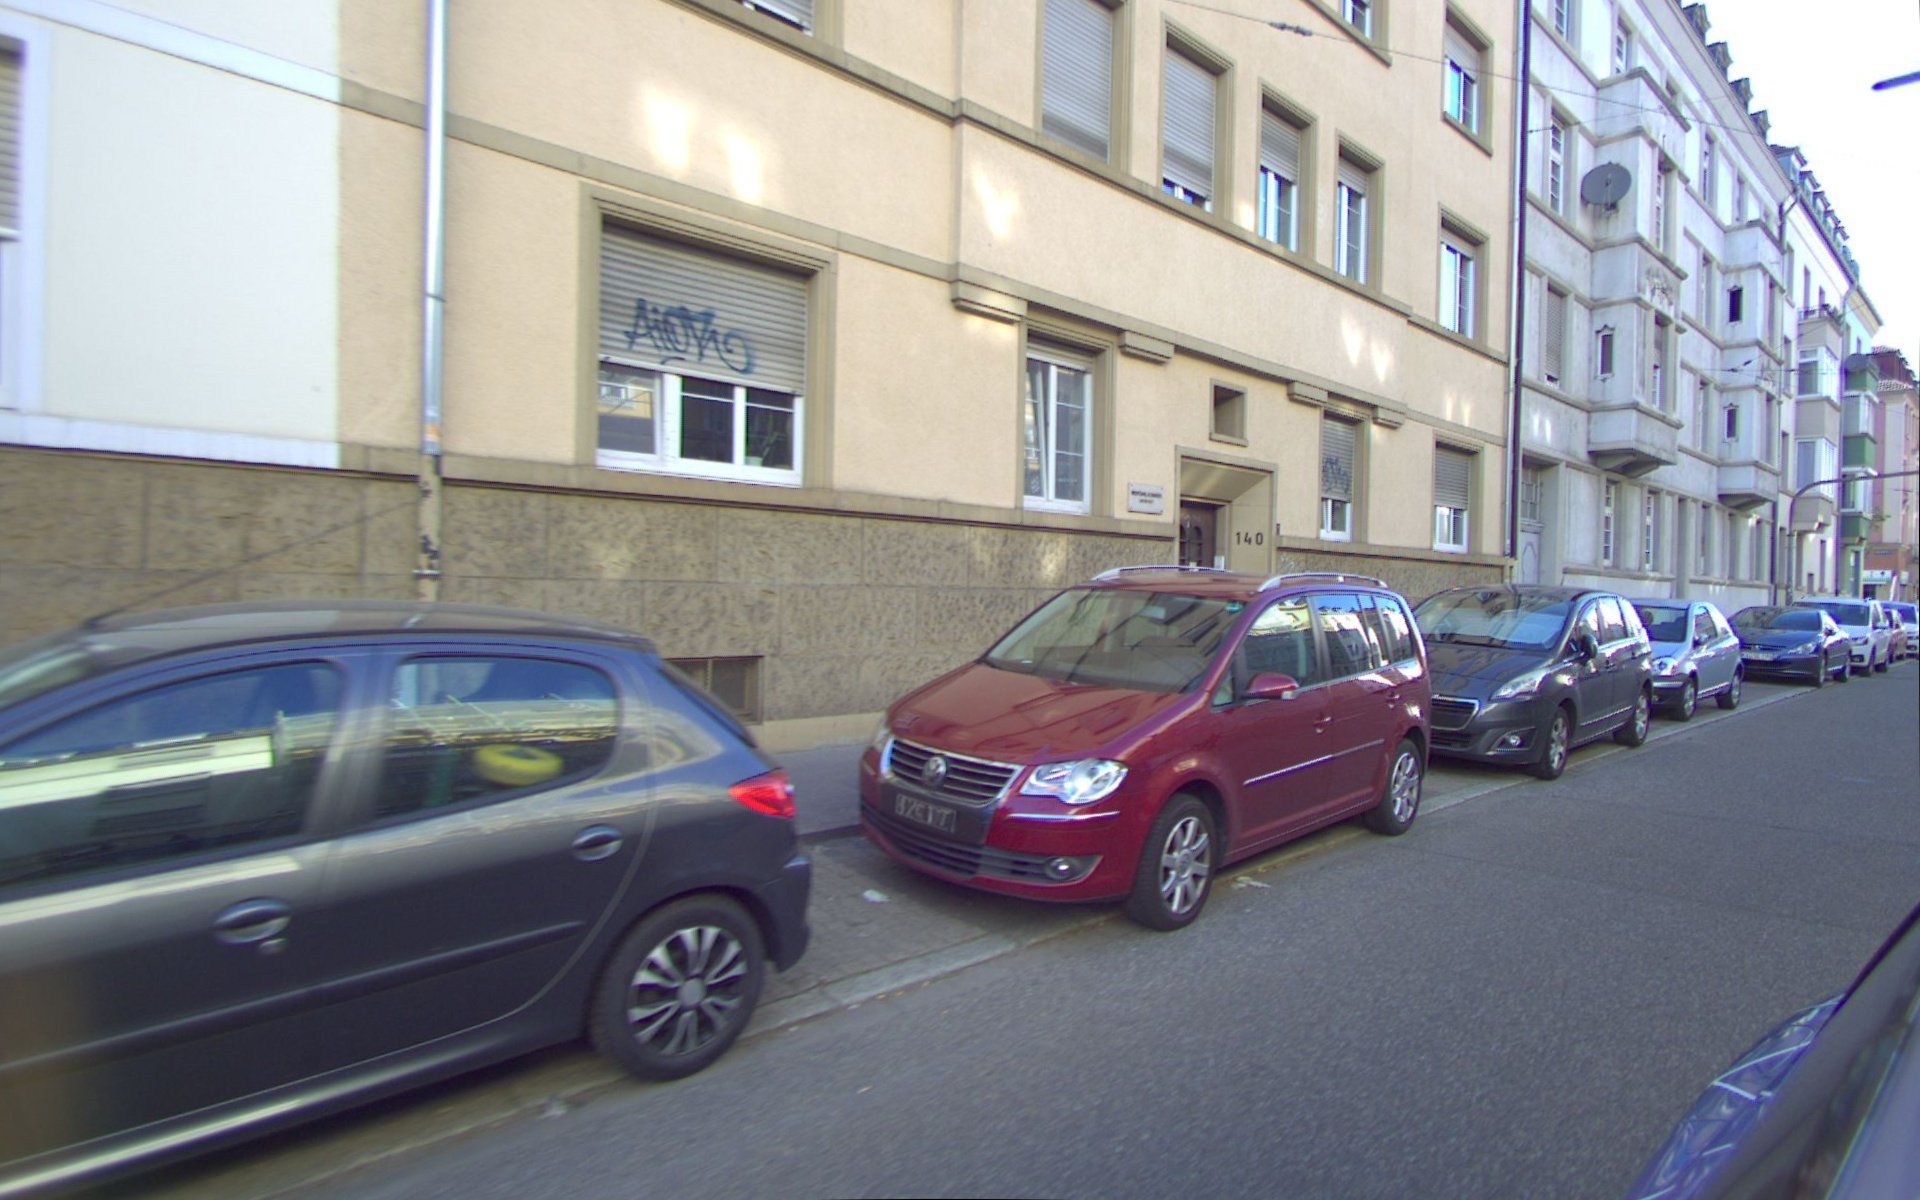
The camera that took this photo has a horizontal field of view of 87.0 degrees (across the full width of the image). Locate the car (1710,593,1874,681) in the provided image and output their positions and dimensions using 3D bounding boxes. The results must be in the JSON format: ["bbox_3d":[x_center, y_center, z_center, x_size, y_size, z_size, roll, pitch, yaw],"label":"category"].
[{"bbox_3d":[16.164,0.642,19.597,4.131,1.470,1.703,0,2,-40],"label":"car"}]

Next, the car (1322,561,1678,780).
[{"bbox_3d":[5.485,0.528,10.021,4.293,1.672,1.792,0,2,-43],"label":"car"}]

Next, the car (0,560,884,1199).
[{"bbox_3d":[-2.226,0.651,2.867,3.813,1.481,1.585,0,2,-42],"label":"car"}]

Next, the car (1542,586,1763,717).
[{"bbox_3d":[9.418,0.604,13.677,3.418,1.481,1.612,0,2,-41],"label":"car"}]

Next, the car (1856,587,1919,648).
[{"bbox_3d":[29.547,0.522,31.565,4.112,1.719,1.703,0,2,-39],"label":"car"}]

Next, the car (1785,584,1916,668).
[{"bbox_3d":[20.588,0.539,23.342,4.511,1.714,1.712,0,2,-42],"label":"car"}]

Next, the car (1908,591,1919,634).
[{"bbox_3d":[37.511,0.492,38.560,3.892,1.610,1.701,0,1,-42],"label":"car"}]

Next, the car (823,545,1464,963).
[{"bbox_3d":[1.364,0.574,6.002,4.177,1.629,1.593,0,2,-44],"label":"car"}]

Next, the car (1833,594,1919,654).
[{"bbox_3d":[26.301,0.643,28.851,3.305,1.502,1.570,0,3,-40],"label":"car"}]

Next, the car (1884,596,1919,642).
[{"bbox_3d":[33.677,0.663,35.300,3.795,1.524,1.702,0,1,-41],"label":"car"}]
